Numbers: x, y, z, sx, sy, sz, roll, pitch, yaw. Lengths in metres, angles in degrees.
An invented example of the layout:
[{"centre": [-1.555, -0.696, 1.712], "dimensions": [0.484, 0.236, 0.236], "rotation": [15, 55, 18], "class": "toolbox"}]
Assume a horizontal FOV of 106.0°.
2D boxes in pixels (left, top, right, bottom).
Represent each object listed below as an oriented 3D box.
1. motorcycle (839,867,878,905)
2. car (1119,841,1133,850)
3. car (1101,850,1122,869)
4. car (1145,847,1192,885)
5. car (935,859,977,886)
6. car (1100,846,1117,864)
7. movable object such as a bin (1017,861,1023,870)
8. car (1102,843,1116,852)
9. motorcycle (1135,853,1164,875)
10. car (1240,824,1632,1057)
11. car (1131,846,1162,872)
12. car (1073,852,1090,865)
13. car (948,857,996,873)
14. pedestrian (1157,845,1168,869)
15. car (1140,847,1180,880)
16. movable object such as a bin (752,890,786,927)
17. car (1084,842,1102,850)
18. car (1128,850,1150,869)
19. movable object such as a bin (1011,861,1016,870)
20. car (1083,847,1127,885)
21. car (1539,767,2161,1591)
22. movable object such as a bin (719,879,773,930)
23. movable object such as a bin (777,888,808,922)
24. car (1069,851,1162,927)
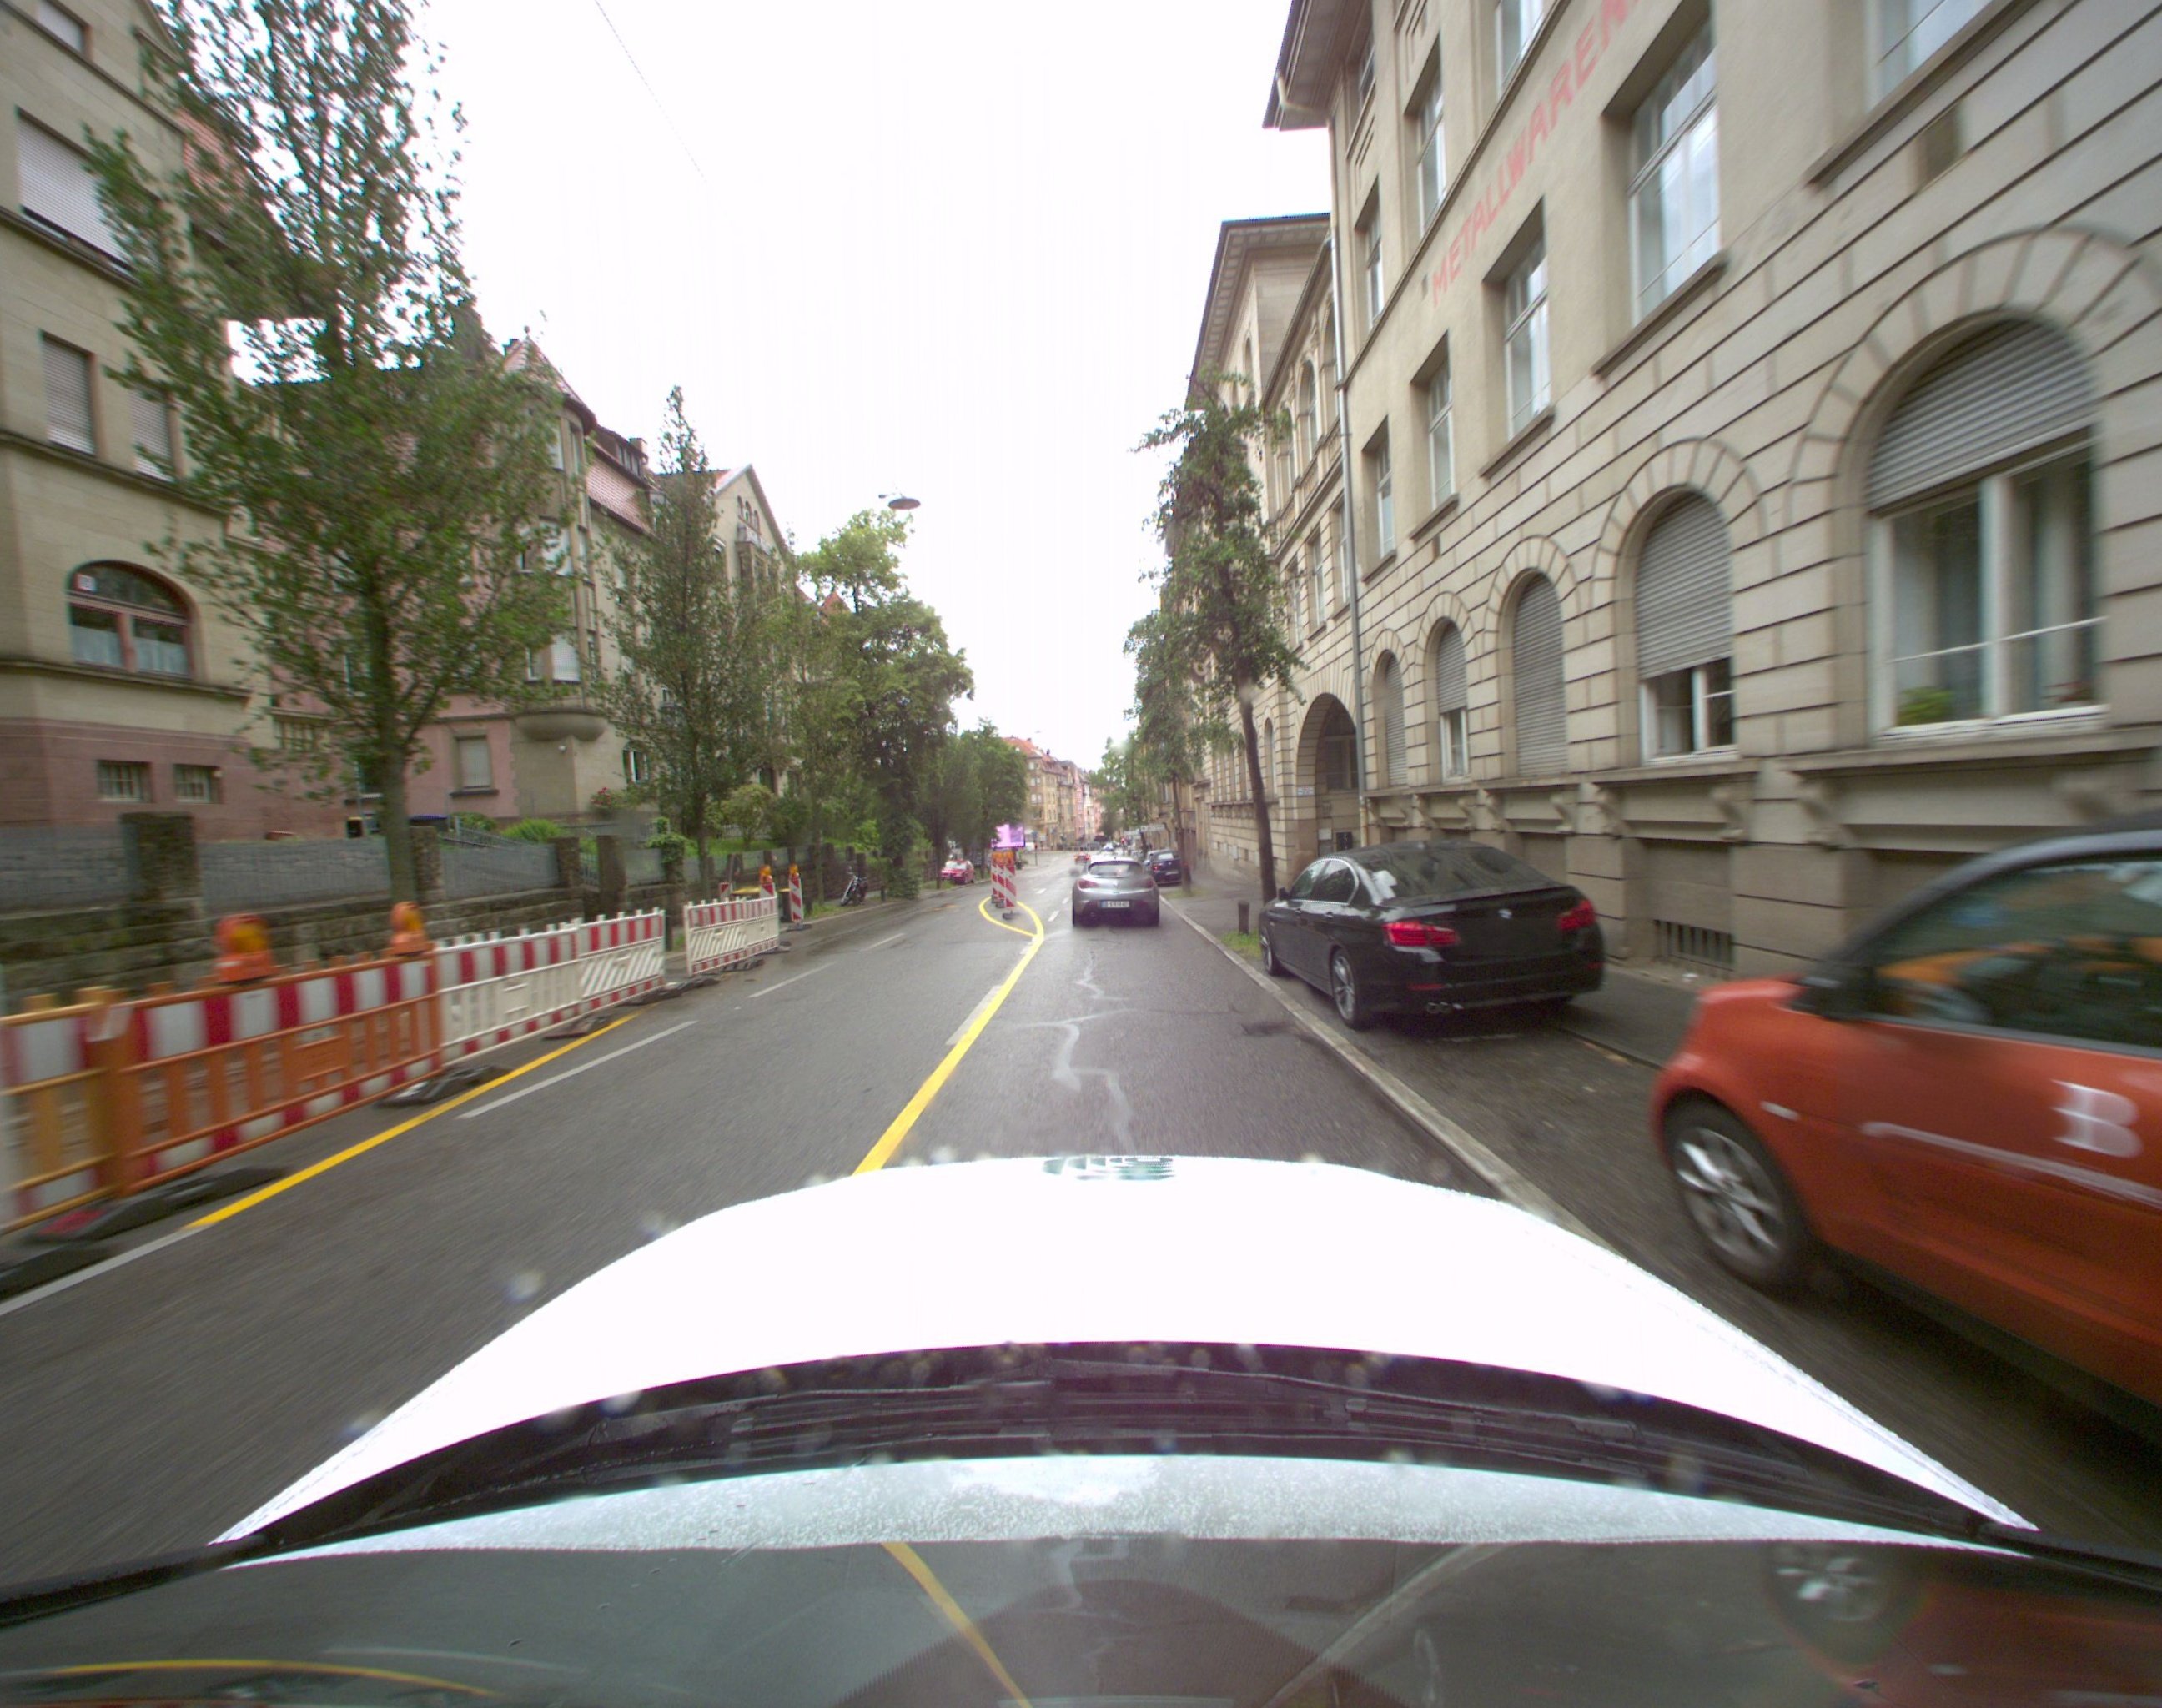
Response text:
[{"centre": [-8.341, 1.189, 30.596], "dimensions": [0.762, 1.346, 2.204], "rotation": [-1, -1, 2], "class": "motorcycle"}, {"centre": [8.808, -1.670, 158.844], "dimensions": [1.980, 1.684, 4.013], "rotation": [0, 0, 12], "class": "car"}, {"centre": [2.753, 0.505, 74.042], "dimensions": [1.652, 1.543, 3.664], "rotation": [-5, 0, -1], "class": "car"}, {"centre": [3.694, 0.483, 34.702], "dimensions": [1.631, 1.429, 3.377], "rotation": [-3, 0, 1], "class": "car"}, {"centre": [-7.451, 1.086, 48.897], "dimensions": [1.631, 1.439, 4.082], "rotation": [-3, 0, 2], "class": "car"}, {"centre": [2.934, 0.084, 85.946], "dimensions": [1.650, 1.782, 3.667], "rotation": [-2, 0, 2], "class": "car"}, {"centre": [-6.991, 1.314, 92.867], "dimensions": [0.657, 1.058, 0.626], "rotation": [0, 0, -7], "class": "movable object such as a bin"}, {"centre": [5.529, -1.242, 159.458], "dimensions": [1.980, 1.684, 4.013], "rotation": [0, 0, 12], "class": "car"}, {"centre": [4.050, 0.594, 48.267], "dimensions": [0.649, 1.235, 1.994], "rotation": [-2, -1, 40], "class": "motorcycle"}, {"centre": [2.951, 0.588, 8.065], "dimensions": [1.752, 1.461, 4.724], "rotation": [-6, 0, 1], "class": "car"}, {"centre": [4.350, 0.287, 54.649], "dimensions": [1.632, 1.602, 3.856], "rotation": [-3, 0, -1], "class": "car"}, {"centre": [0.085, 0.526, 101.349], "dimensions": [1.986, 1.500, 4.002], "rotation": [-3, 0, 2], "class": "car"}, {"centre": [-10.419, 1.005, 77.666], "dimensions": [4.321, 1.243, 1.633], "rotation": [-3, 0, -18], "class": "car"}, {"centre": [6.256, 0.232, 62.616], "dimensions": [0.713, 1.870, 0.636], "rotation": [-1, -1, 1], "class": "pedestrian"}, {"centre": [3.819, 0.420, 39.816], "dimensions": [1.631, 1.469, 3.860], "rotation": [-3, 0, 2], "class": "car"}, {"centre": [-8.175, 1.431, 21.366], "dimensions": [0.601, 0.907, 0.624], "rotation": [-1, 0, 3], "class": "movable object such as a bin"}, {"centre": [2.674, -1.742, 183.457], "dimensions": [3.972, 1.750, 2.001], "rotation": [0, 0, 1], "class": "car"}, {"centre": [4.913, 0.454, 69.408], "dimensions": [1.631, 1.524, 3.860], "rotation": [-3, 0, 2], "class": "car"}, {"centre": [-7.611, 1.290, 91.780], "dimensions": [0.624, 1.058, 0.719], "rotation": [0, 0, -4], "class": "movable object such as a bin"}, {"centre": [1.016, 0.484, 35.979], "dimensions": [1.767, 1.504, 3.868], "rotation": [-2, 1, -1], "class": "car"}, {"centre": [2.789, 0.557, 1.834], "dimensions": [1.633, 1.520, 3.183], "rotation": [-6, 0, 0], "class": "car"}, {"centre": [-8.375, 1.252, 20.389], "dimensions": [0.941, 1.214, 0.857], "rotation": [-1, 0, 2], "class": "movable object such as a bin"}, {"centre": [-8.063, 1.423, 22.761], "dimensions": [0.601, 0.907, 0.624], "rotation": [-1, 0, 3], "class": "movable object such as a bin"}, {"centre": [0.718, 0.696, 18.235], "dimensions": [1.805, 1.449, 3.869], "rotation": [-2, 1, 1], "class": "car"}]
